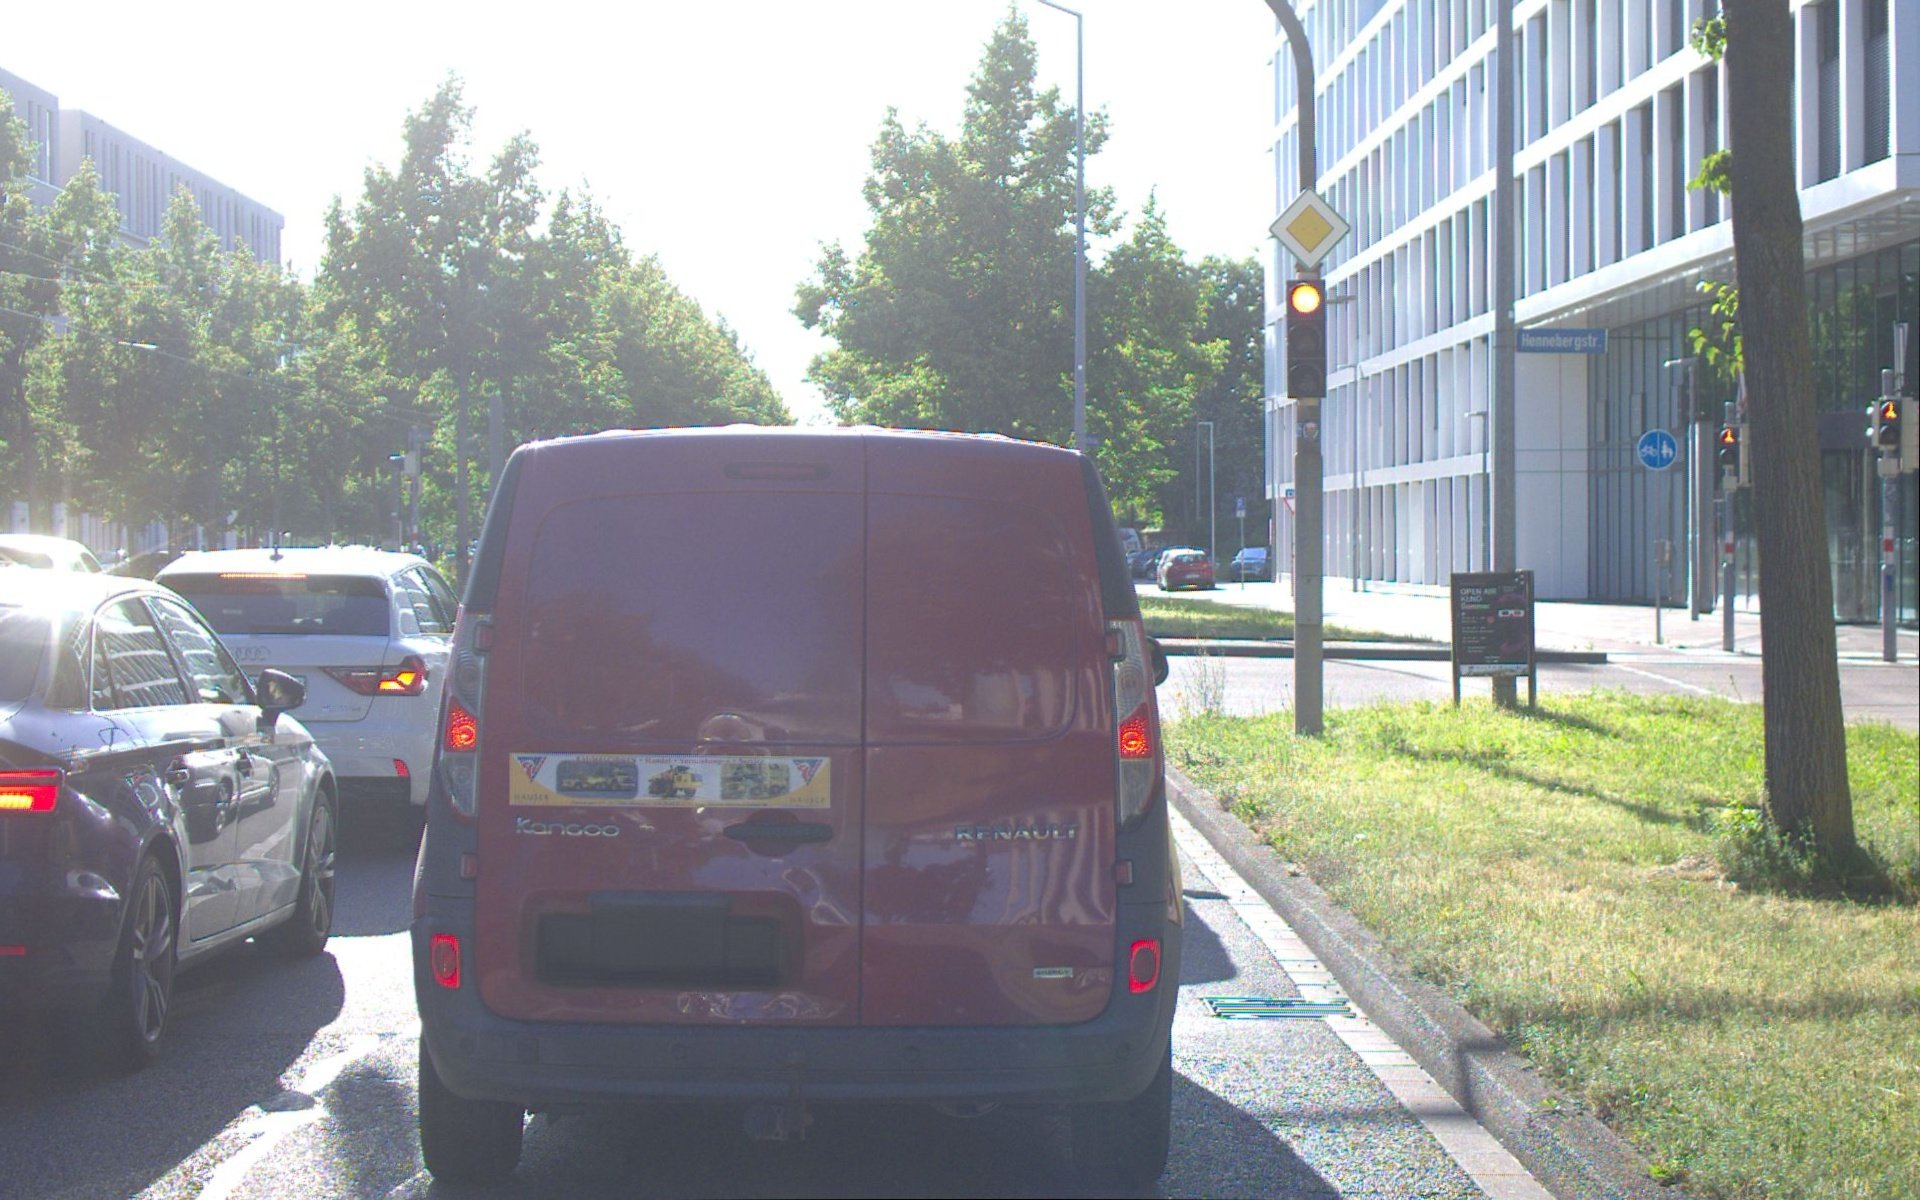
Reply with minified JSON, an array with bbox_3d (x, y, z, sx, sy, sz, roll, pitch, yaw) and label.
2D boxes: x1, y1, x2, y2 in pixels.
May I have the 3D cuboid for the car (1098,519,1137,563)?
[{"bbox_3d":[9.082,-3.426,198.322,1.993,2.488,4.987,0,1,-1],"label":"car"}]

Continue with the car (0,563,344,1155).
[{"bbox_3d":[-3.198,0.619,10.668,1.842,1.421,4.339,0,1,-1],"label":"car"}]

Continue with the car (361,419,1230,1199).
[{"bbox_3d":[-0.376,0.466,9.303,1.842,1.774,4.000,0,1,-1],"label":"car"}]

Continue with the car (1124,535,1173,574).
[{"bbox_3d":[8.792,-2.128,160.616,1.993,1.776,4.000,0,1,-1],"label":"car"}]

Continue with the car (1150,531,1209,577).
[{"bbox_3d":[8.475,-1.793,132.915,1.993,1.776,4.000,0,1,-1],"label":"car"}]

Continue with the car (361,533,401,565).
[{"bbox_3d":[-37.535,-3.320,222.867,1.993,2.007,4.000,0,1,-1],"label":"car"}]

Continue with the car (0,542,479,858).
[{"bbox_3d":[-3.610,0.421,17.565,1.803,1.421,3.901,0,1,-1],"label":"car"}]

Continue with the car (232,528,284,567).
[{"bbox_3d":[-37.218,-2.801,182.411,1.993,2.007,4.000,0,1,-1],"label":"car"}]

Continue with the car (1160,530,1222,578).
[{"bbox_3d":[8.584,-1.725,127.842,1.993,1.776,4.000,0,1,-1],"label":"car"}]

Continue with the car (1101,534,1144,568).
[{"bbox_3d":[8.495,-2.578,179.813,1.993,1.776,4.000,0,1,-1],"label":"car"}]

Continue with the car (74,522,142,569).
[{"bbox_3d":[-36.972,-2.378,149.324,1.993,2.007,4.000,0,1,-1],"label":"car"}]

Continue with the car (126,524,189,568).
[{"bbox_3d":[-36.959,-2.491,158.425,1.993,2.007,4.000,0,1,-1],"label":"car"}]

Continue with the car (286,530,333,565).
[{"bbox_3d":[-37.667,-3.029,199.225,1.993,2.007,4.000,0,1,-1],"label":"car"}]

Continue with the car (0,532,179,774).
[{"bbox_3d":[-6.857,0.287,24.330,1.799,1.478,4.569,3,1,-3],"label":"car"}]
